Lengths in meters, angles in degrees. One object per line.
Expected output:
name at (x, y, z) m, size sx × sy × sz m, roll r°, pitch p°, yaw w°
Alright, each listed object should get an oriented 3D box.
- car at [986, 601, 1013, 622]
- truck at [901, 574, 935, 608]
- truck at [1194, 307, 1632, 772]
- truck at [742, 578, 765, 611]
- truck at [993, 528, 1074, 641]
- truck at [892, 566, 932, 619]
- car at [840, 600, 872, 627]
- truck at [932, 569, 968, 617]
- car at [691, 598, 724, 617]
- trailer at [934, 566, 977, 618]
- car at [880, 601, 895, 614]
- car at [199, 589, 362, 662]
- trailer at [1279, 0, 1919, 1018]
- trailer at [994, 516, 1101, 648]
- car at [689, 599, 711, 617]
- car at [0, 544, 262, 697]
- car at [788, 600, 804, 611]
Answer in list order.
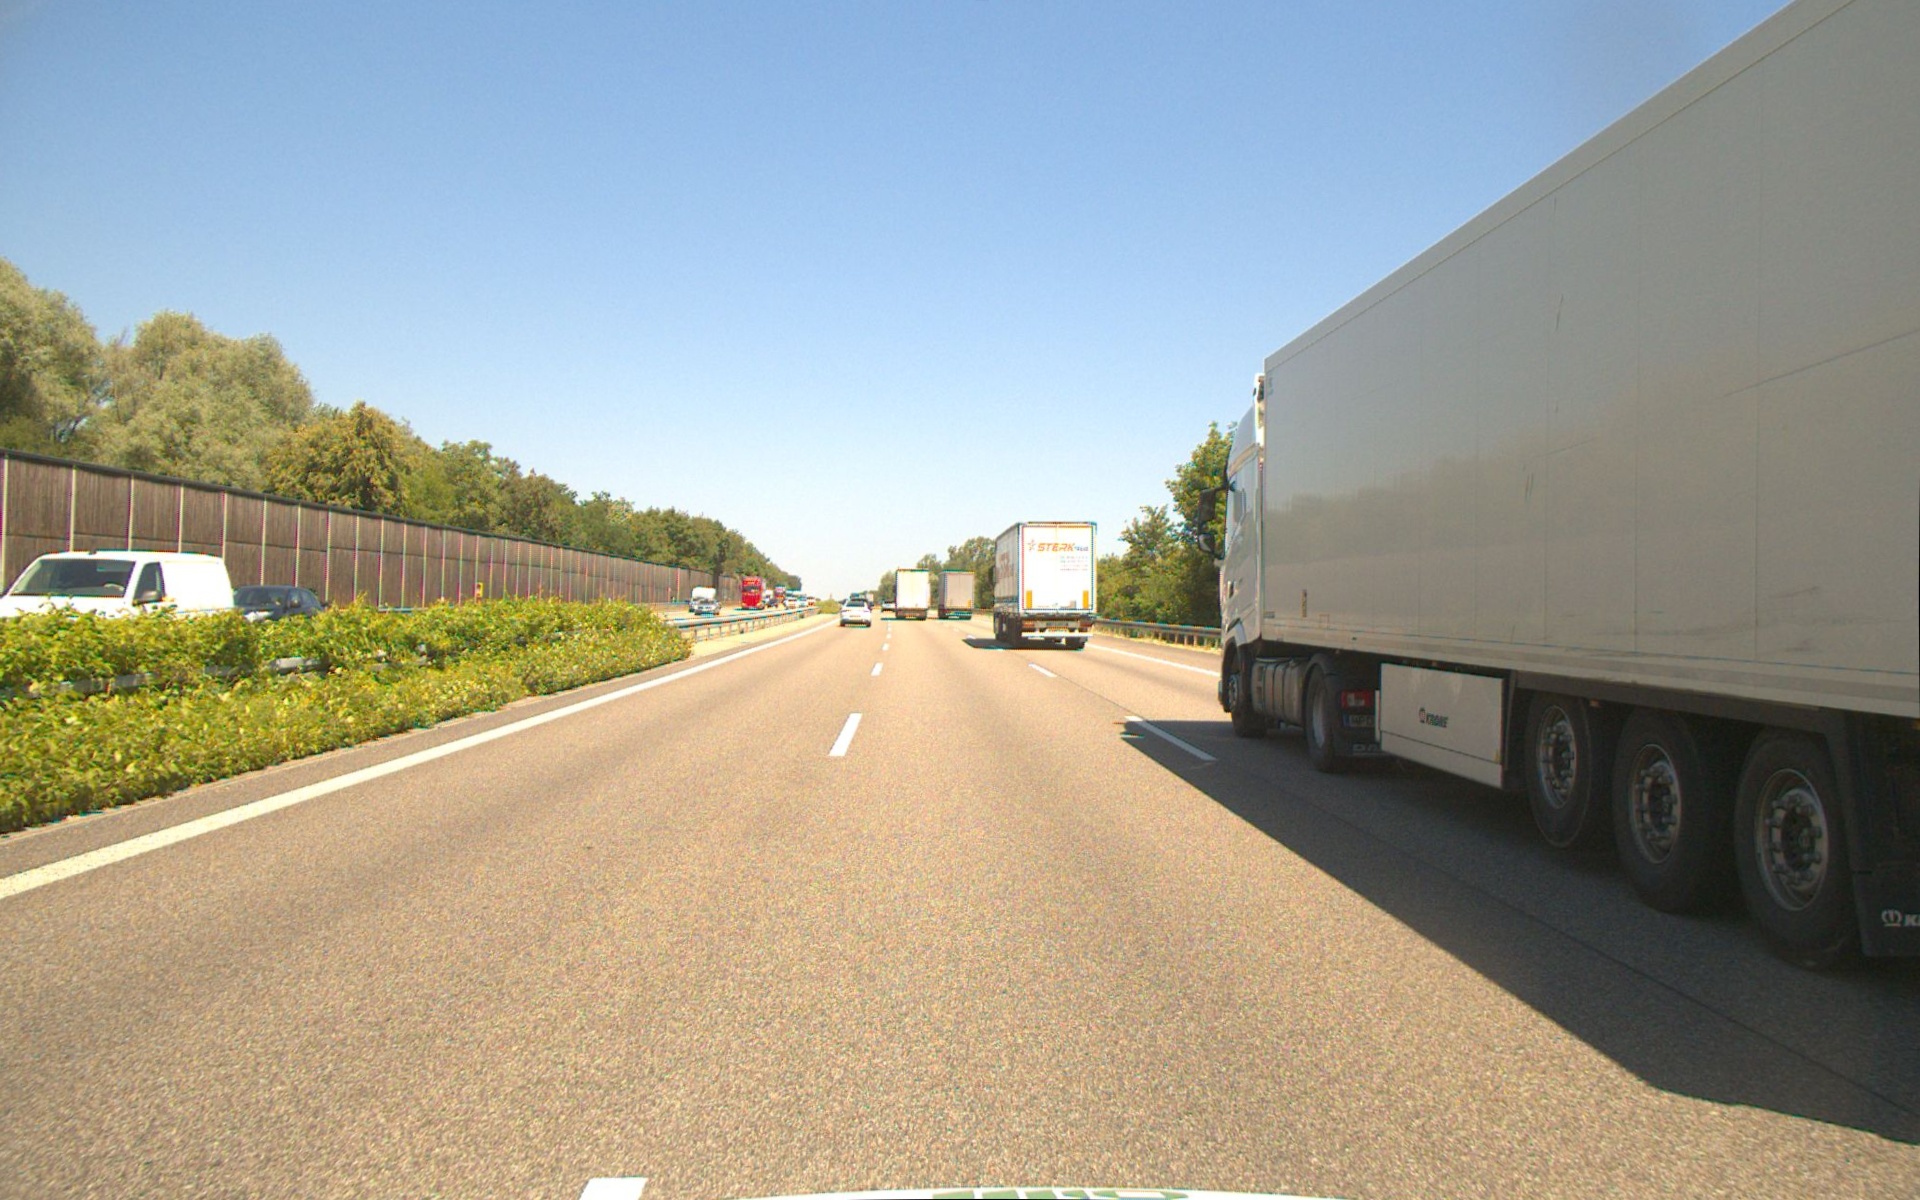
car at (3.134, 0.892, 131.634) m, size 1.818 × 1.645 × 3.997 m, roll 1°, pitch 0°, yaw -3°
truck at (-5.790, -1.207, 225.476) m, size 3.310 × 4.378 × 11.432 m, roll 4°, pitch 0°, yaw -7°
truck at (4.555, -0.541, 18.081) m, size 2.899 × 4.178 × 6.204 m, roll 1°, pitch 0°, yaw -2°
truck at (-26.262, -0.651, 210.820) m, size 2.311 × 4.147 × 7.149 m, roll 1°, pitch 0°, yaw -3°
truck at (2.808, -0.558, 65.080) m, size 2.652 × 4.160 × 6.962 m, roll 1°, pitch 0°, yaw -1°
truck at (-4.117, -0.541, 138.506) m, size 2.654 × 4.157 × 13.461 m, roll 2°, pitch 0°, yaw -4°
car at (-6.135, 0.773, 97.565) m, size 1.818 × 1.512 × 3.997 m, roll 1°, pitch 0°, yaw -4°
truck at (-0.974, -0.638, 153.376) m, size 2.639 × 4.289 × 7.829 m, roll 2°, pitch -1°, yaw -5°
car at (-21.538, 0.613, 141.207) m, size 2.081 × 1.549 × 5.980 m, roll 1°, pitch 0°, yaw -2°
trailer at (-0.505, -0.645, 147.901) m, size 2.651 × 4.289 × 13.197 m, roll 2°, pitch 0°, yaw -5°
car at (-9.359, 0.937, 213.968) m, size 1.817 × 1.645 × 3.999 m, roll 1°, pitch 0°, yaw -1°
car at (-16.794, 0.603, 41.217) m, size 1.953 × 1.672 × 5.583 m, roll 1°, pitch 0°, yaw -2°
trailer at (4.763, -0.583, 9.903) m, size 2.899 × 4.178 × 12.527 m, roll 1°, pitch 0°, yaw -2°
trailer at (2.936, -0.546, 59.779) m, size 2.652 × 4.160 × 14.145 m, roll 1°, pitch 0°, yaw -2°
car at (-27.179, 0.820, 172.867) m, size 1.861 × 1.741 × 4.902 m, roll 1°, pitch 0°, yaw -4°
car at (-12.592, 0.271, 25.046) m, size 1.953 × 2.049 × 5.343 m, roll 1°, pitch 0°, yaw -2°
car at (-22.282, 0.734, 224.621) m, size 1.861 × 1.547 × 4.416 m, roll 1°, pitch 0°, yaw -3°
